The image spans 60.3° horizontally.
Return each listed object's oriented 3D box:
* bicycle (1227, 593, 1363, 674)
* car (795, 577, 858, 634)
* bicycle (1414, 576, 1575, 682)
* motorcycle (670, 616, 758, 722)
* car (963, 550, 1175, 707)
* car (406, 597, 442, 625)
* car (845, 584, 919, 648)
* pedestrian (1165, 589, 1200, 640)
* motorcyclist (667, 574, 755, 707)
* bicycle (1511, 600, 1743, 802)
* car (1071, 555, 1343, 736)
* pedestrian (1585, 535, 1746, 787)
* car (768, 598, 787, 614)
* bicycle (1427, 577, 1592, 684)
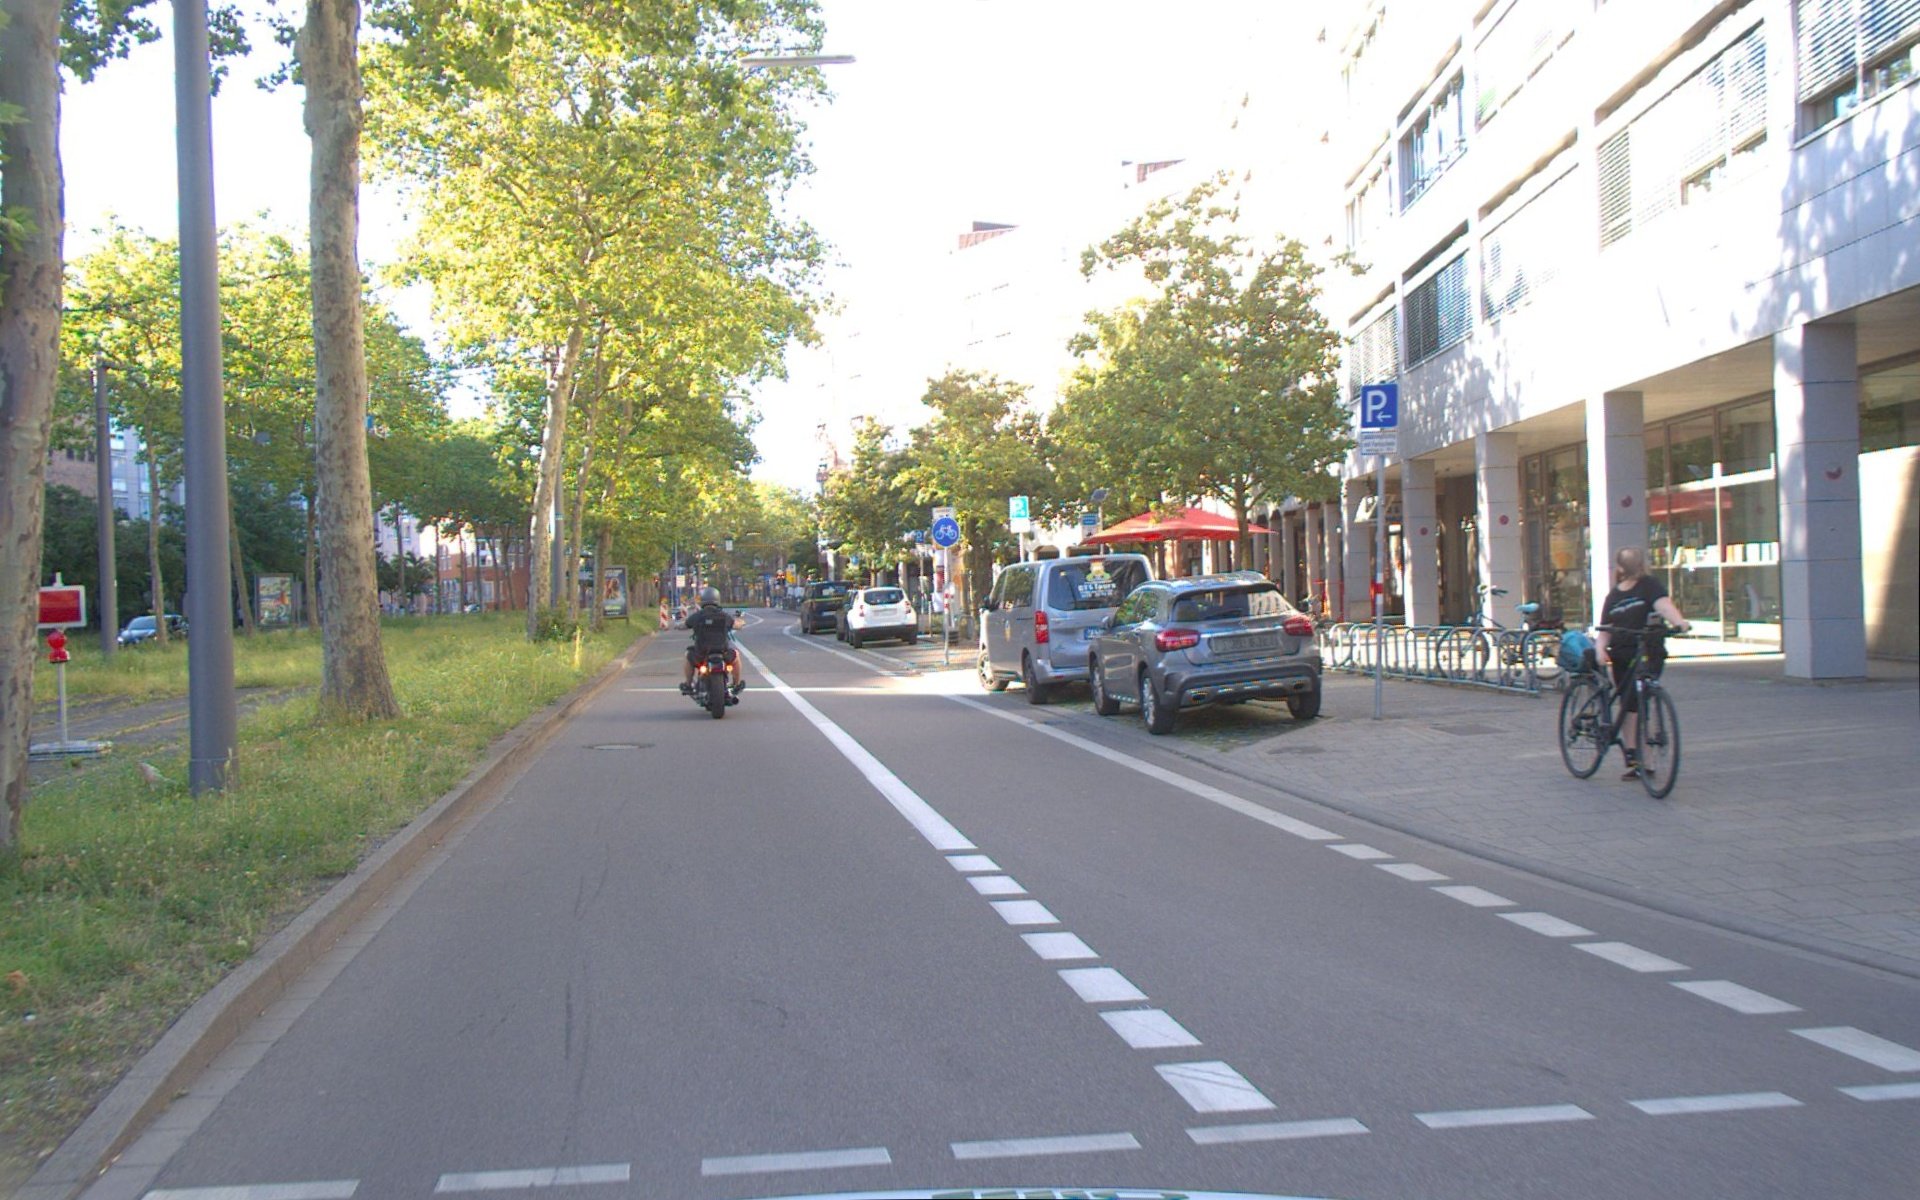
[{"bbox_3d":[4.989,0.487,24.678,1.834,1.120,0.738,-2,0,-13],"label":"bicycle"},{"bbox_3d":[-5.234,0.194,64.263,1.993,2.011,4.404,-3,1,-10],"label":"car"},{"bbox_3d":[6.596,0.349,20.434,1.797,1.171,0.470,-3,1,-4],"label":"bicycle"},{"bbox_3d":[-3.130,0.831,20.840,0.987,1.145,2.318,-2,2,-10],"label":"motorcycle"},{"bbox_3d":[1.423,0.368,23.781,1.887,1.875,4.914,-5,1,-9],"label":"car"},{"bbox_3d":[-35.714,0.715,110.270,1.868,1.716,3.987,-2,0,-13],"label":"car"},{"bbox_3d":[-2.267,0.445,47.184,1.824,1.666,3.863,-3,0,-6],"label":"car"},{"bbox_3d":[6.965,0.449,51.766,0.853,1.573,0.993,-2,0,-3],"label":"pedestrian"},{"bbox_3d":[-3.155,0.482,20.834,1.004,1.579,1.283,-2,1,-10],"label":"motorcyclist"},{"bbox_3d":[4.540,0.638,11.412,0.599,1.183,1.845,-5,2,-7],"label":"bicycle"},{"bbox_3d":[2.548,0.431,18.199,1.824,1.600,4.409,-5,1,-6],"label":"car"},{"bbox_3d":[4.897,0.398,11.521,0.593,1.638,0.836,-5,2,-7],"label":"pedestrian"},{"bbox_3d":[-21.444,0.717,194.361,1.954,1.735,3.998,-2,0,-3],"label":"car"},{"bbox_3d":[6.628,0.361,19.957,1.797,1.171,0.470,-3,1,-4],"label":"bicycle"}]
